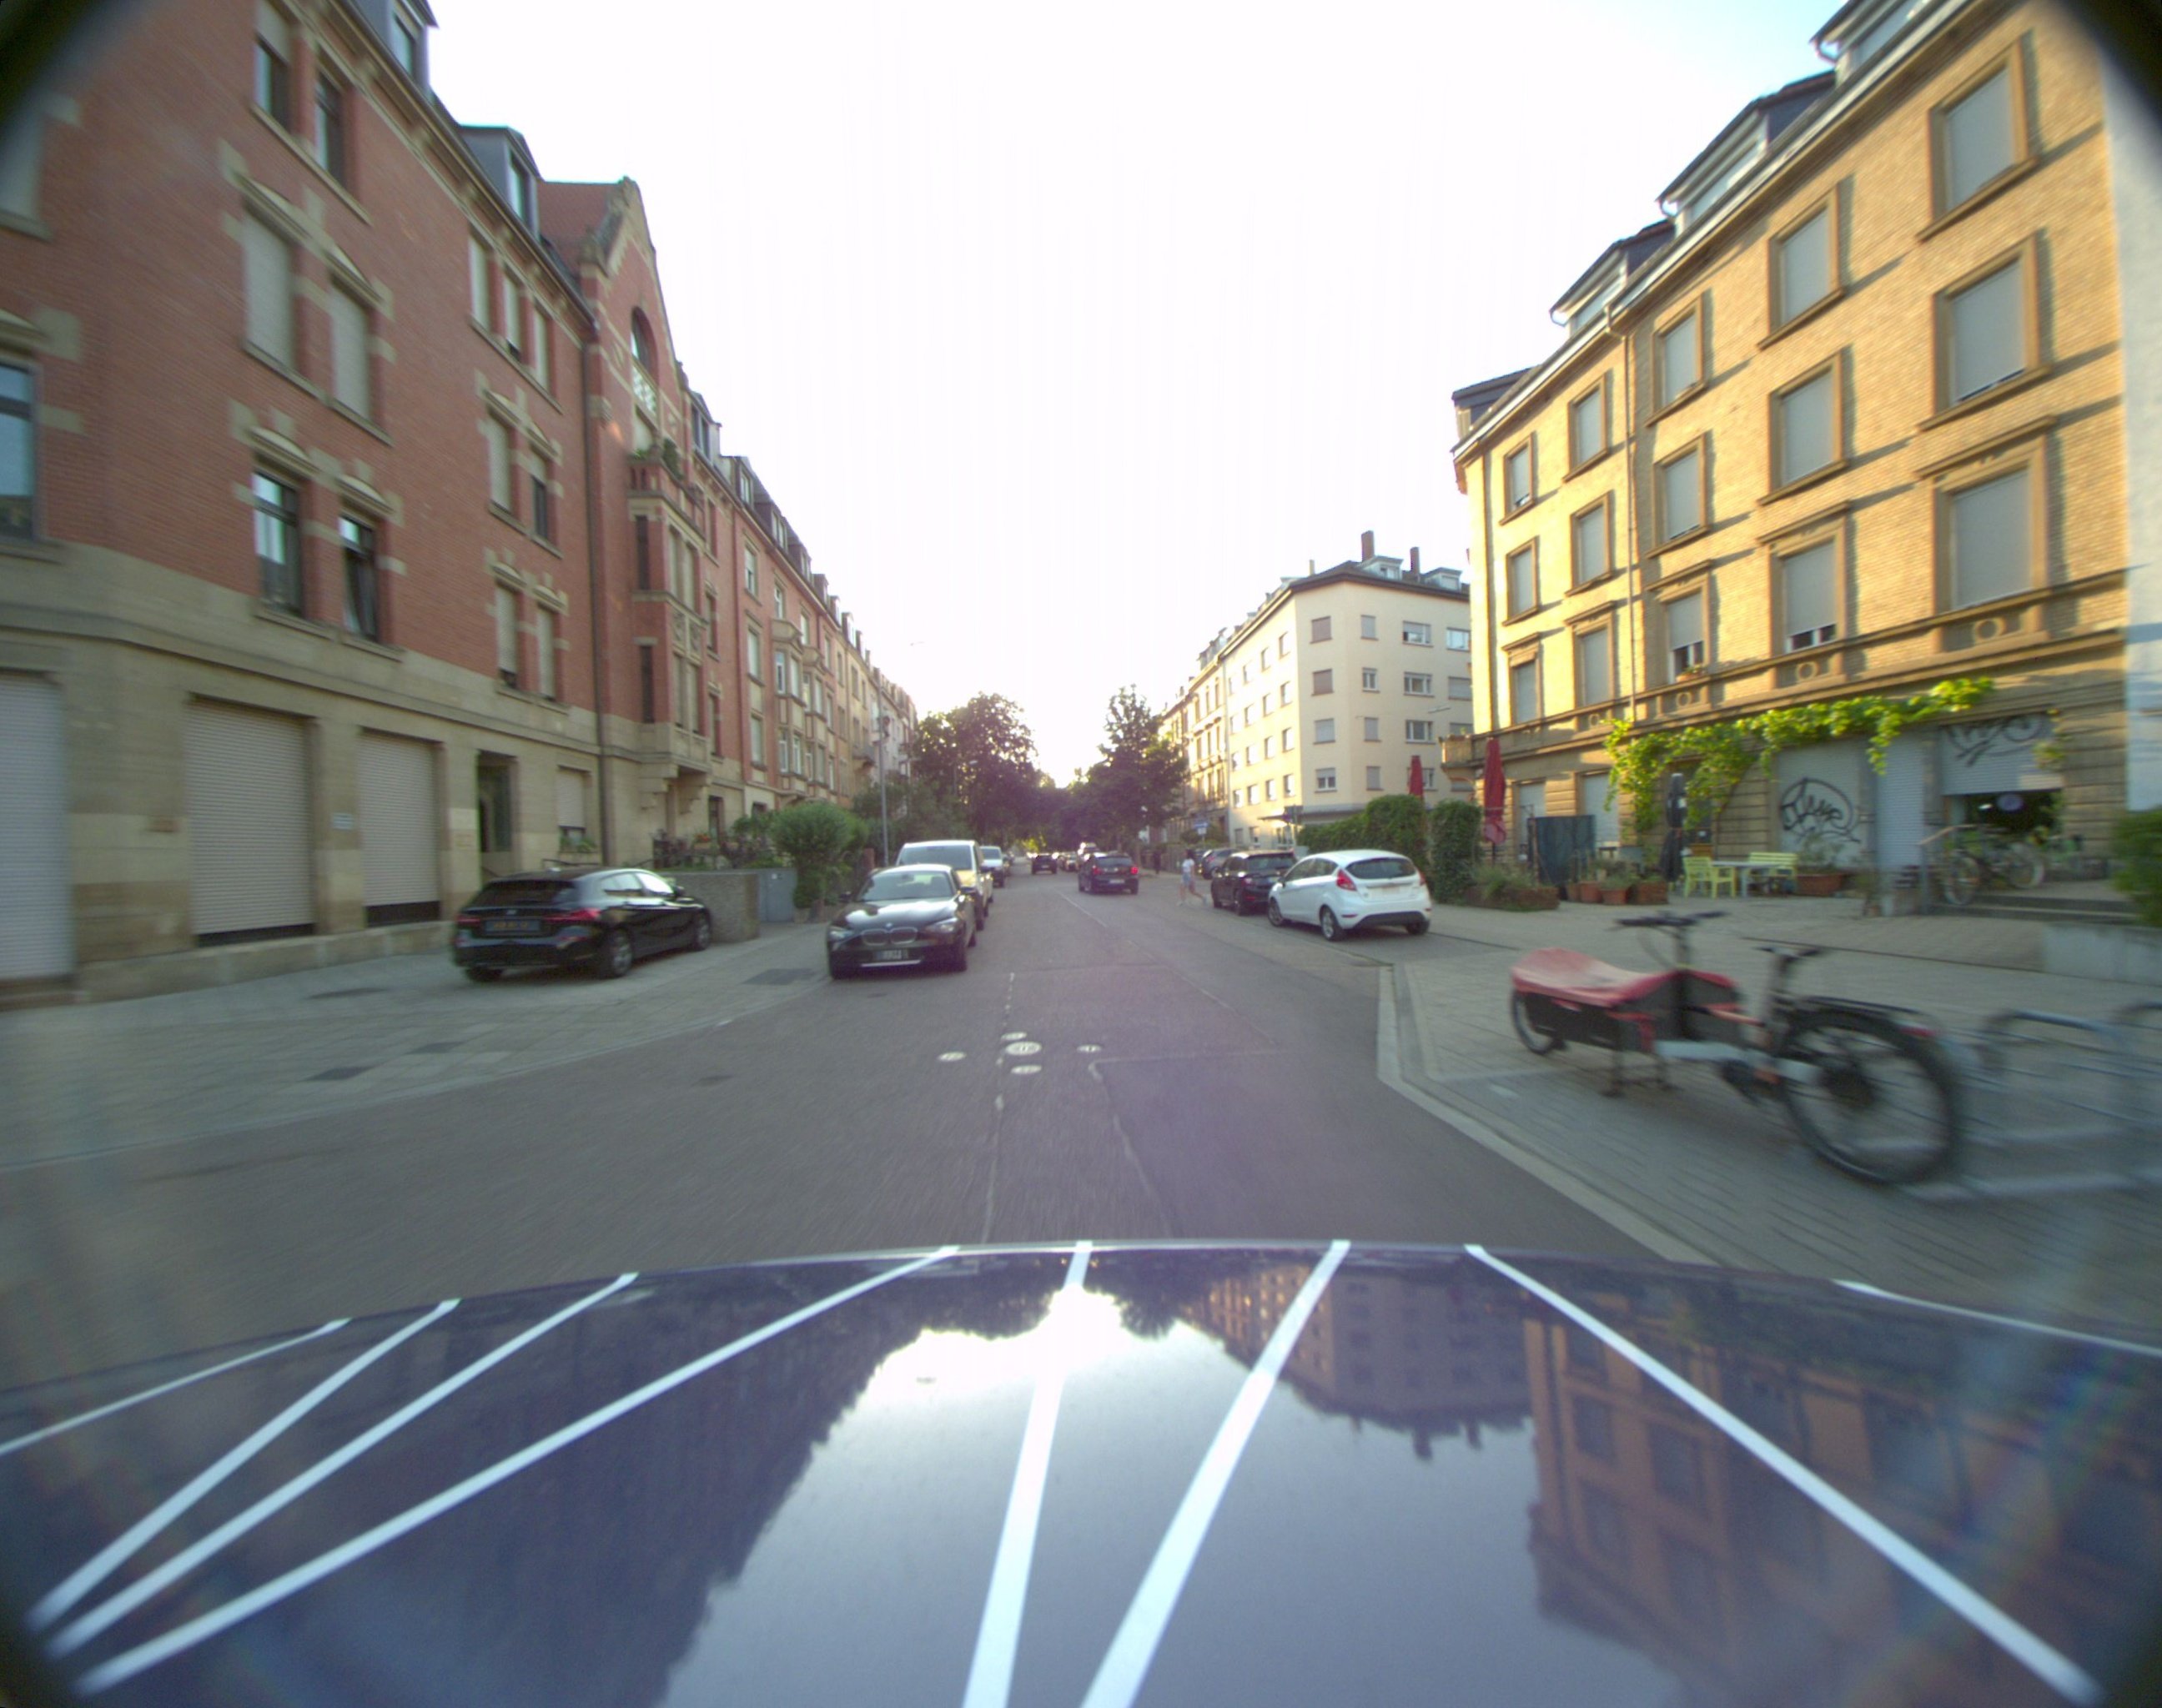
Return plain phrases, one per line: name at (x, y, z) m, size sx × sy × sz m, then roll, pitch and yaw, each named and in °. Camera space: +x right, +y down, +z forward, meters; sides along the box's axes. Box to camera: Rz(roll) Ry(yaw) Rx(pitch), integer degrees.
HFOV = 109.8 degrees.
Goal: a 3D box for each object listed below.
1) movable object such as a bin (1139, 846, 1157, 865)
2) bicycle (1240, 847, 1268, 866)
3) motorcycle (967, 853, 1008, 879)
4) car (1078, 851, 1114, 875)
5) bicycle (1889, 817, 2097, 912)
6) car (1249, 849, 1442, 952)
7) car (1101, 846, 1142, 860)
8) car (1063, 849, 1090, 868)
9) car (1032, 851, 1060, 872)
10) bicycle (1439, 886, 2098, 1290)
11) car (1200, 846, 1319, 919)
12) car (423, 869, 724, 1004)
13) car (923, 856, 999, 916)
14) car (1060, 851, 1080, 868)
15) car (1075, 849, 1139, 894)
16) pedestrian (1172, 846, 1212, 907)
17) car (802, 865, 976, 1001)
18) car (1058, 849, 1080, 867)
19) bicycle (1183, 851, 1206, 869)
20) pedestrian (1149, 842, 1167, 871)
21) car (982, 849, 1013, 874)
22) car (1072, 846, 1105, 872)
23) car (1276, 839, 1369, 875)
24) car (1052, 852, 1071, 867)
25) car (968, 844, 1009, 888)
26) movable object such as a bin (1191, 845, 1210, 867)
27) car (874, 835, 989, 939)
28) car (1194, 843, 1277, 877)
movable object such as a bin at (5.151, 0.104, 58.363) m, size 0.949 × 1.379 × 1.550 m, roll -3°, pitch 1°, yaw -8°
bicycle at (10.803, 0.136, 47.499) m, size 1.636 × 1.086 × 0.500 m, roll -3°, pitch 1°, yaw -11°
motorcycle at (-5.478, 0.703, 44.431) m, size 2.099 × 1.474 × 1.130 m, roll -1°, pitch 1°, yaw -38°
car at (0.971, 0.572, 51.466) m, size 1.867 × 1.404 × 4.587 m, roll -3°, pitch 1°, yaw -6°
bicycle at (12.270, 0.127, 10.265) m, size 1.921 × 1.135 × 0.811 m, roll -3°, pitch 1°, yaw -4°
car at (4.573, 0.700, 13.812) m, size 1.656 × 1.521 × 4.014 m, roll -3°, pitch 1°, yaw -7°
car at (4.565, -0.096, 86.602) m, size 4.414 × 1.334 × 1.625 m, roll -2°, pitch 1°, yaw -4°
car at (-0.425, 0.372, 62.629) m, size 1.733 × 1.433 × 4.021 m, roll -3°, pitch 1°, yaw -7°
car at (-2.690, 0.513, 57.393) m, size 1.785 × 1.509 × 3.997 m, roll -1°, pitch 1°, yaw -8°
bicycle at (3.094, 0.875, 4.087) m, size 0.810 × 1.214 × 2.864 m, roll -3°, pitch 1°, yaw -3°
car at (4.230, 0.606, 18.655) m, size 1.708 × 1.525 × 3.842 m, roll -2°, pitch 1°, yaw -4°
car at (-6.925, 1.003, 11.050) m, size 1.731 × 1.416 × 4.420 m, roll 0°, pitch 1°, yaw -6°
car at (-3.440, 0.863, 22.356) m, size 1.679 × 1.468 × 3.860 m, roll -2°, pitch 1°, yaw -2°
car at (-1.029, 0.484, 71.493) m, size 1.682 × 1.490 × 3.624 m, roll -2°, pitch 1°, yaw -3°
car at (0.848, 0.575, 27.025) m, size 1.657 × 1.447 × 3.938 m, roll 1°, pitch 1°, yaw -7°
pedestrian at (3.055, 0.596, 20.930) m, size 0.787 × 1.609 × 0.711 m, roll -4°, pitch 1°, yaw -18°
car at (-2.561, 0.962, 11.147) m, size 1.726 × 1.416 × 4.251 m, roll -3°, pitch 1°, yaw -5°
car at (-1.230, 0.385, 76.824) m, size 1.867 × 1.653 × 4.019 m, roll -2°, pitch 1°, yaw -4°
bicycle at (6.790, 0.365, 45.536) m, size 0.689 × 1.020 × 1.930 m, roll -3°, pitch 1°, yaw -10°
pedestrian at (4.702, 0.140, 46.311) m, size 0.890 × 1.712 × 0.959 m, roll -3°, pitch 1°, yaw 10°
car at (-5.836, 0.519, 53.742) m, size 1.761 × 1.573 × 4.840 m, roll -3°, pitch 1°, yaw -3°
car at (0.527, 0.321, 56.447) m, size 1.867 × 1.769 × 4.620 m, roll -3°, pitch 1°, yaw -6°
car at (11.896, 0.136, 37.723) m, size 4.067 × 1.500 × 1.974 m, roll -3°, pitch 1°, yaw 7°
car at (-2.297, 0.663, 88.334) m, size 1.678 × 1.628 × 3.937 m, roll -3°, pitch 1°, yaw -8°
car at (-4.505, 0.510, 37.547) m, size 1.867 × 2.027 × 5.541 m, roll 0°, pitch 1°, yaw -6°
movable object such as a bin at (7.641, 0.139, 48.469) m, size 0.869 × 1.345 × 1.398 m, roll -3°, pitch 1°, yaw -3°
car at (-3.122, 0.596, 16.868) m, size 1.899 × 1.873 × 5.079 m, roll -3°, pitch 1°, yaw -5°
car at (7.481, 0.287, 37.050) m, size 3.517 × 1.499 × 1.844 m, roll -2°, pitch 0°, yaw -5°
